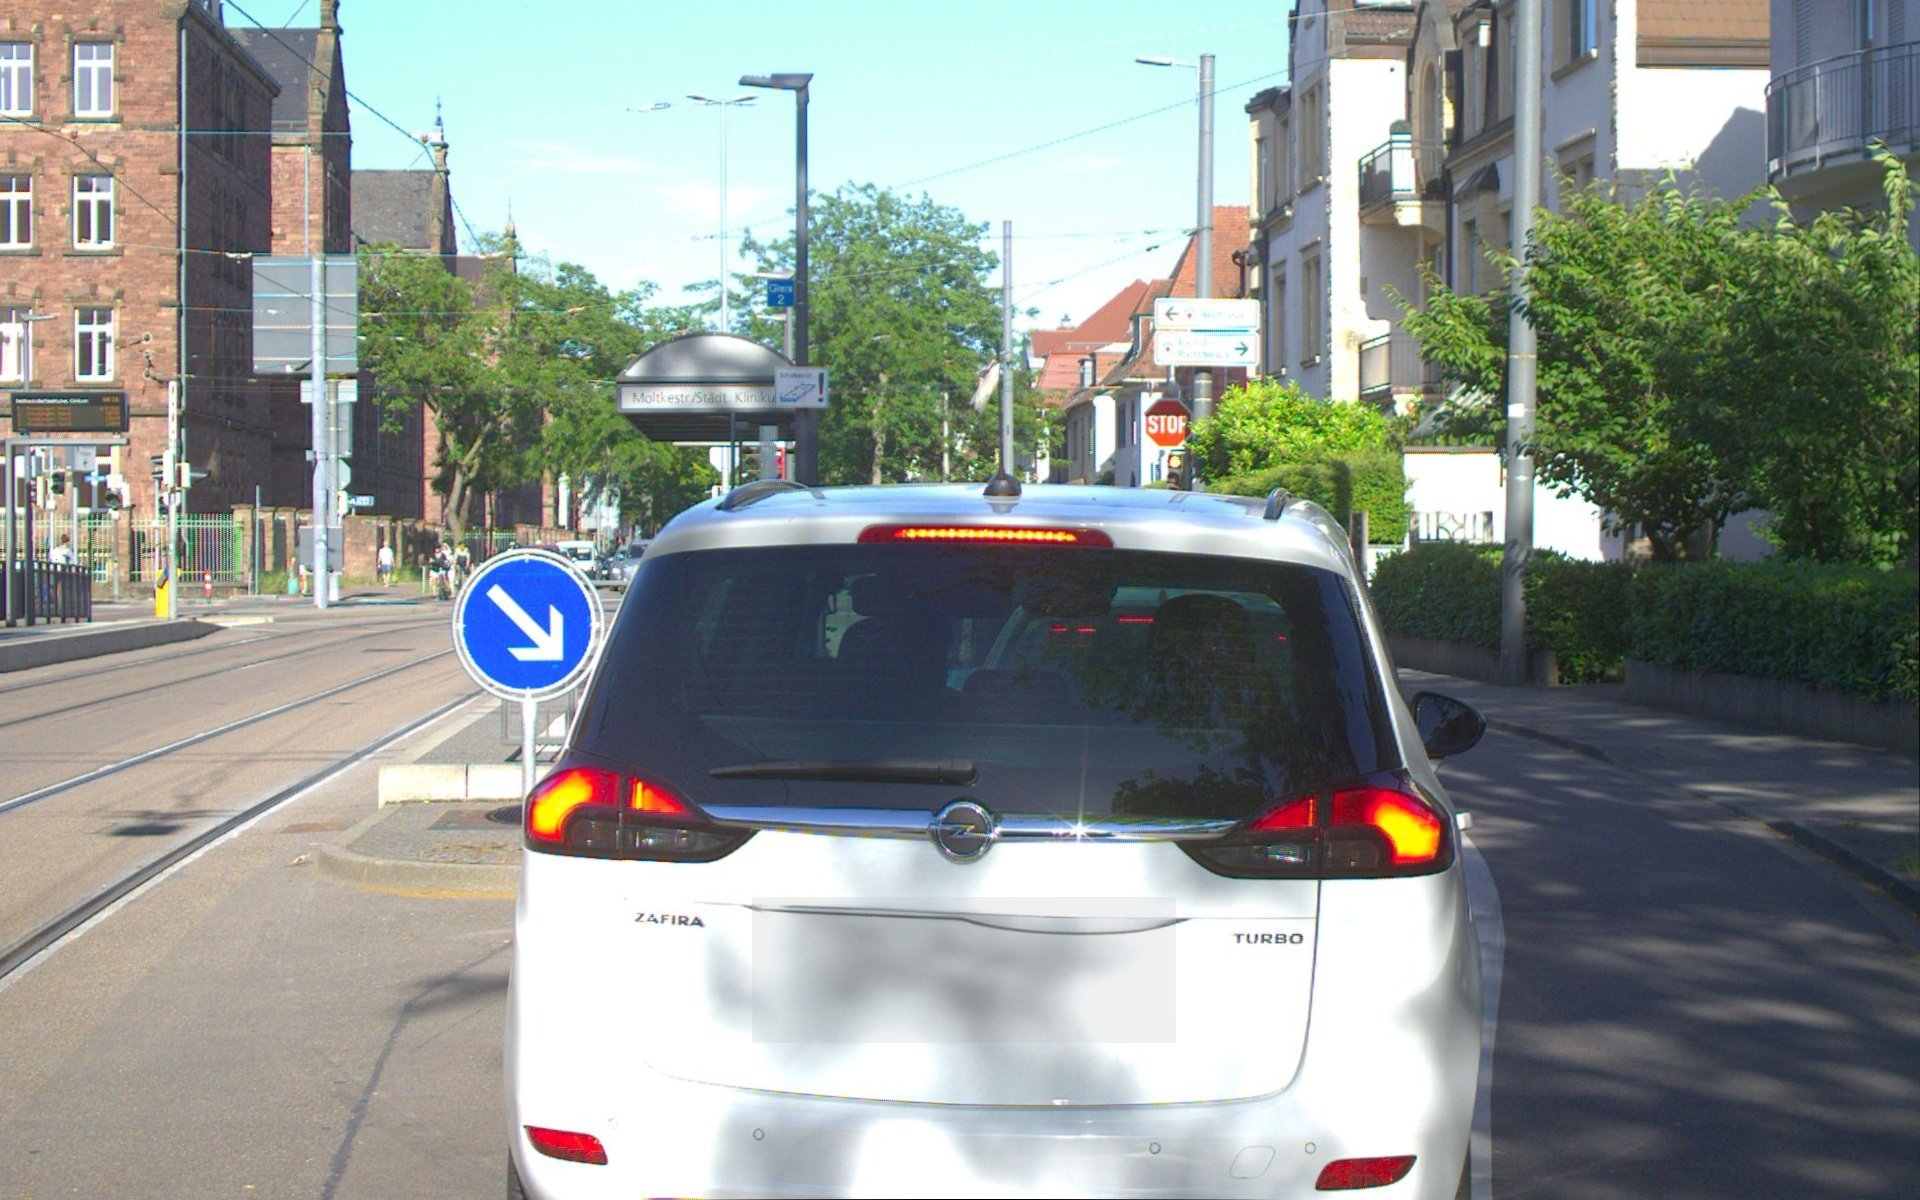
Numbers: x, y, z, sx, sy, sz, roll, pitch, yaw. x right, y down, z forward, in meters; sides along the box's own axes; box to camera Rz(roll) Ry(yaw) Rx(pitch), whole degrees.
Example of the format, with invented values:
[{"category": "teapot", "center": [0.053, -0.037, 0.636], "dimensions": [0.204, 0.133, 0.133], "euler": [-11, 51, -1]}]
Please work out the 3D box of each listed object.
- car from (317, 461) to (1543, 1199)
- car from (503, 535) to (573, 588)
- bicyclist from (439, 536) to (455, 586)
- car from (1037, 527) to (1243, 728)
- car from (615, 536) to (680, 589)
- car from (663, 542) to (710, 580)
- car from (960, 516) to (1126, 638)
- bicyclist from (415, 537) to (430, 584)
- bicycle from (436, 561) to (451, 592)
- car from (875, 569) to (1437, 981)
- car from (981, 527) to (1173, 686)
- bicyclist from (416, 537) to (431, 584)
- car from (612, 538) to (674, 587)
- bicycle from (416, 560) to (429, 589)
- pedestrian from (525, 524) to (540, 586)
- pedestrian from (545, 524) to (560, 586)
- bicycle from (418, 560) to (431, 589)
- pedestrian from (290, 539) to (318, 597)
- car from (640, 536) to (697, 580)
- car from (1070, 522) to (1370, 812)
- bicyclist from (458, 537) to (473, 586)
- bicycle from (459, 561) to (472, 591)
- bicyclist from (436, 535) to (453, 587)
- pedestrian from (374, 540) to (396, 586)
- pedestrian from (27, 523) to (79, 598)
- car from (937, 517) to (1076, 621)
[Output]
[{"category": "car", "center": [0.135, 0.584, 7.598], "dimensions": [1.994, 1.639, 3.992], "euler": [1, 1, 6]}, {"category": "car", "center": [-13.121, -1.216, 107.083], "dimensions": [1.993, 1.623, 4.001], "euler": [0, 1, -5]}, {"category": "bicyclist", "center": [-15.897, -1.212, 106.561], "dimensions": [0.444, 1.548, 0.496], "euler": [0, 1, -4]}, {"category": "car", "center": [1.491, 0.181, 29.252], "dimensions": [1.637, 1.595, 3.854], "euler": [0, 1, 2]}, {"category": "car", "center": [-9.741, -1.180, 107.306], "dimensions": [1.993, 1.623, 4.001], "euler": [0, 1, -5]}, {"category": "car", "center": [-11.989, -1.727, 150.512], "dimensions": [1.993, 1.623, 3.989], "euler": [0, 1, -5]}, {"category": "car", "center": [1.017, -0.315, 44.296], "dimensions": [1.993, 1.497, 4.000], "euler": [0, 1, -1]}, {"category": "bicyclist", "center": [-17.987, -1.327, 115.092], "dimensions": [0.444, 1.548, 0.496], "euler": [0, 1, -4]}, {"category": "bicycle", "center": [-15.487, -0.707, 103.078], "dimensions": [0.344, 0.946, 1.160], "euler": [1, 0, -4]}, {"category": "car", "center": [0.743, 0.591, 13.979], "dimensions": [1.953, 1.392, 4.000], "euler": [0, 1, 2]}, {"category": "car", "center": [1.173, 0.028, 36.176], "dimensions": [1.830, 1.574, 4.010], "euler": [0, 1, -1]}, {"category": "bicyclist", "center": [-17.669, -1.304, 113.257], "dimensions": [0.444, 1.548, 0.496], "euler": [0, 1, -4]}, {"category": "car", "center": [-10.538, -1.262, 114.413], "dimensions": [1.993, 1.623, 4.001], "euler": [0, 1, -5]}, {"category": "bicycle", "center": [-17.991, -0.861, 115.135], "dimensions": [0.344, 0.946, 0.997], "euler": [1, 0, -4]}, {"category": "pedestrian", "center": [-13.912, -1.468, 111.954], "dimensions": [0.444, 2.007, 0.496], "euler": [0, 1, -4]}, {"category": "pedestrian", "center": [-13.311, -1.463, 112.245], "dimensions": [0.444, 2.007, 0.496], "euler": [0, 1, -4]}, {"category": "bicycle", "center": [-17.652, -0.838, 113.306], "dimensions": [0.344, 0.946, 0.997], "euler": [1, 0, -4]}, {"category": "pedestrian", "center": [-19.390, -0.938, 101.633], "dimensions": [0.734, 1.708, 0.706], "euler": [1, 0, -6]}, {"category": "car", "center": [-11.098, -1.611, 130.961], "dimensions": [1.993, 1.623, 4.001], "euler": [0, 1, -2]}, {"category": "car", "center": [1.490, 0.333, 20.824], "dimensions": [1.637, 1.595, 3.854], "euler": [0, 1, 2]}, {"category": "bicyclist", "center": [-15.693, -1.235, 109.146], "dimensions": [0.444, 1.548, 0.496], "euler": [0, 1, -4]}, {"category": "bicycle", "center": [-15.703, -0.770, 109.160], "dimensions": [0.344, 0.946, 0.997], "euler": [1, 0, -4]}, {"category": "bicyclist", "center": [-15.479, -1.175, 103.279], "dimensions": [0.444, 1.548, 0.743], "euler": [0, 1, -4]}, {"category": "pedestrian", "center": [-21.471, -1.372, 128.431], "dimensions": [0.734, 1.708, 0.754], "euler": [1, 0, -6]}, {"category": "pedestrian", "center": [-20.612, -0.888, 78.116], "dimensions": [0.895, 1.678, 1.029], "euler": [1, 0, -1]}, {"category": "car", "center": [0.663, -0.484, 51.756], "dimensions": [1.993, 1.497, 4.000], "euler": [0, 1, -1]}]
